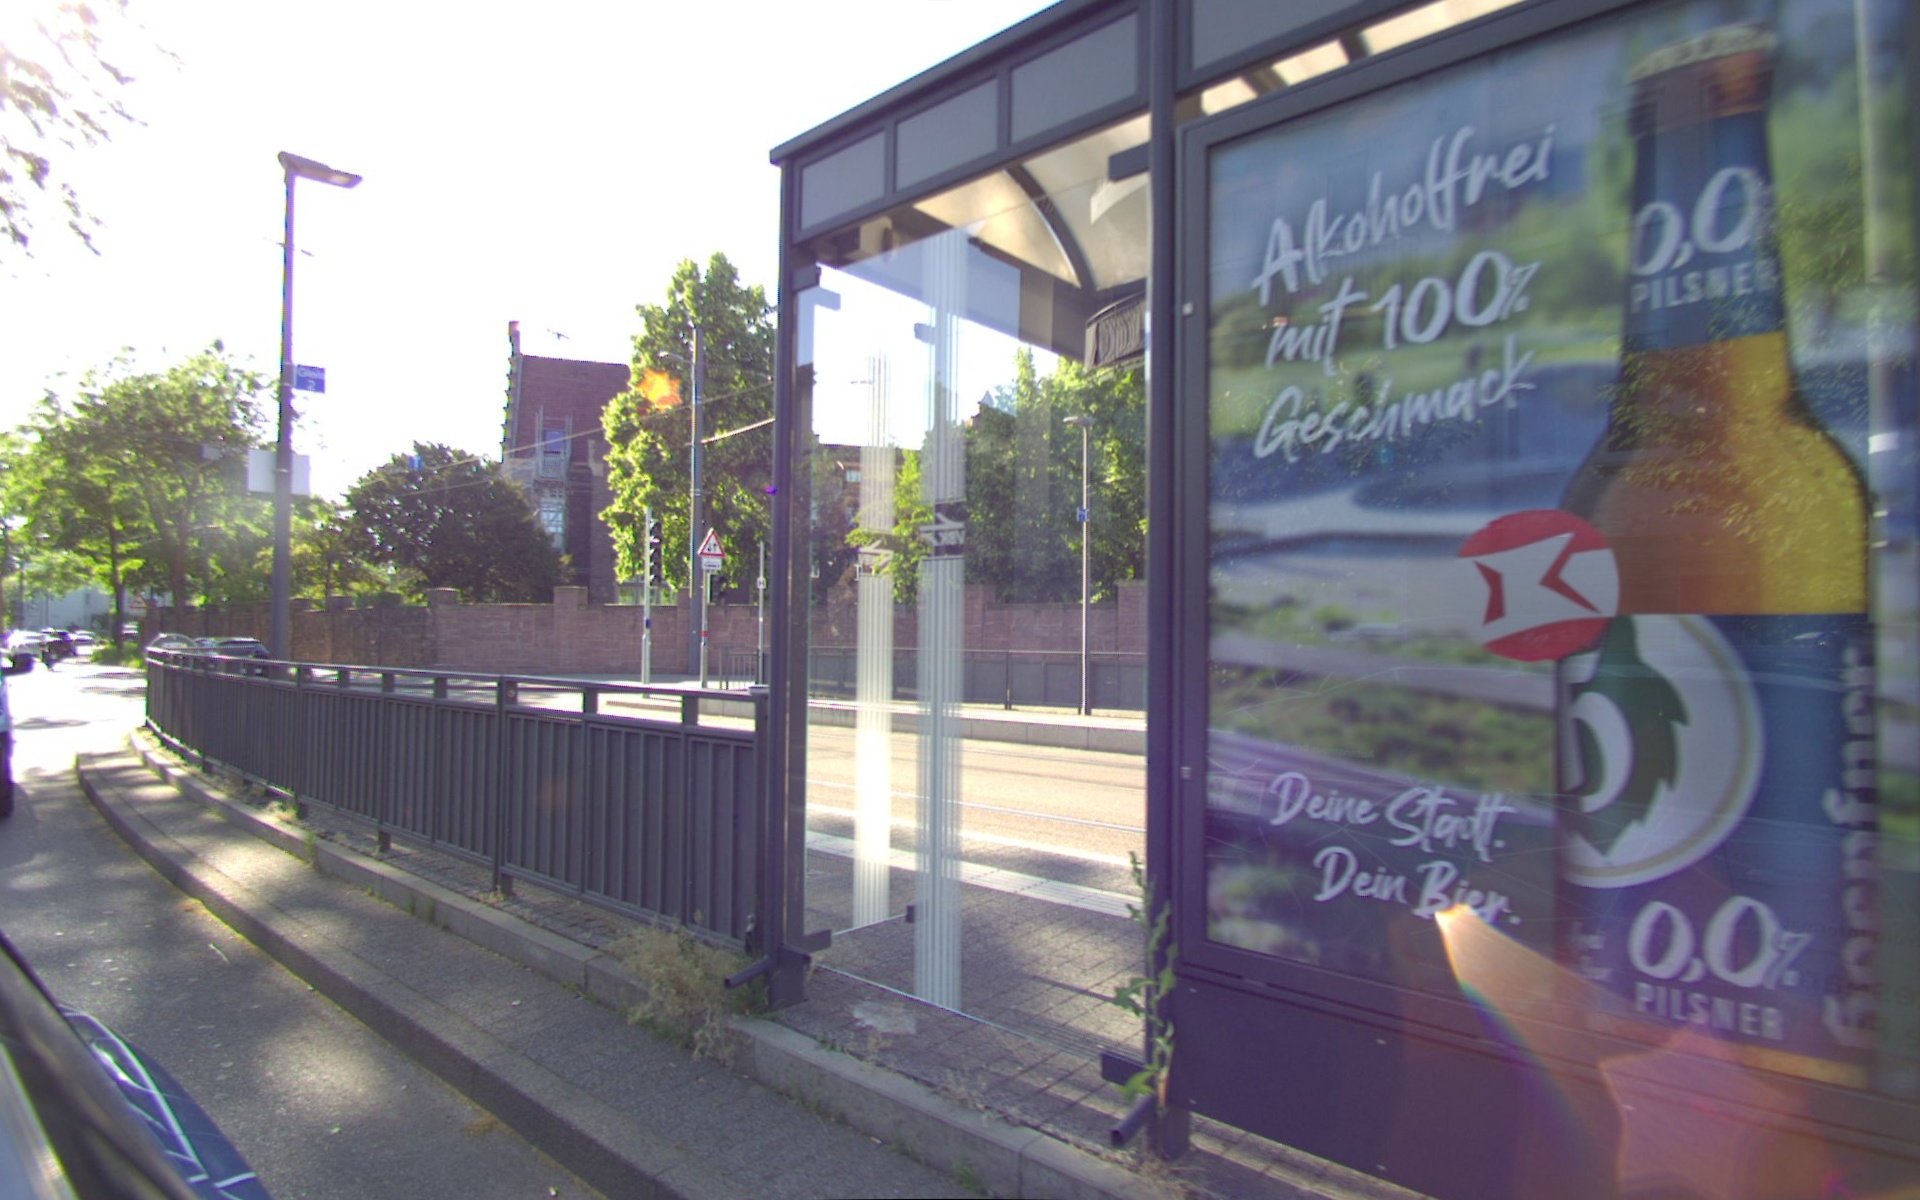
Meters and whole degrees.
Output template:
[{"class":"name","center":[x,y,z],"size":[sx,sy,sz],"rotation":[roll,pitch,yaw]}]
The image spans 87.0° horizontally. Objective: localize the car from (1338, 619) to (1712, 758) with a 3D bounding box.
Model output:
[{"class":"car","center":[7.934,1.151,14.459],"size":[4.356,1.690,1.886],"rotation":[-2,-3,41]}]

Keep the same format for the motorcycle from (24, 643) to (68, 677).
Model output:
[{"class":"motorcycle","center":[-36.145,2.363,40.025],"size":[2.574,1.253,1.117],"rotation":[-2,-2,44]}]

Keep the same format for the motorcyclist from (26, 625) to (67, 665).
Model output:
[{"class":"motorcyclist","center":[-36.066,1.760,39.964],"size":[1.055,1.537,1.112],"rotation":[-2,-2,44]}]

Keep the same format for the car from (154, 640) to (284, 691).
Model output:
[{"class":"car","center":[-22.337,1.978,30.493],"size":[3.970,1.414,1.840],"rotation":[-4,-4,32]}]

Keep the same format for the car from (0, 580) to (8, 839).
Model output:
[{"class":"car","center":[-8.861,0.810,7.999],"size":[4.336,1.812,1.806],"rotation":[-1,-1,45]}]
